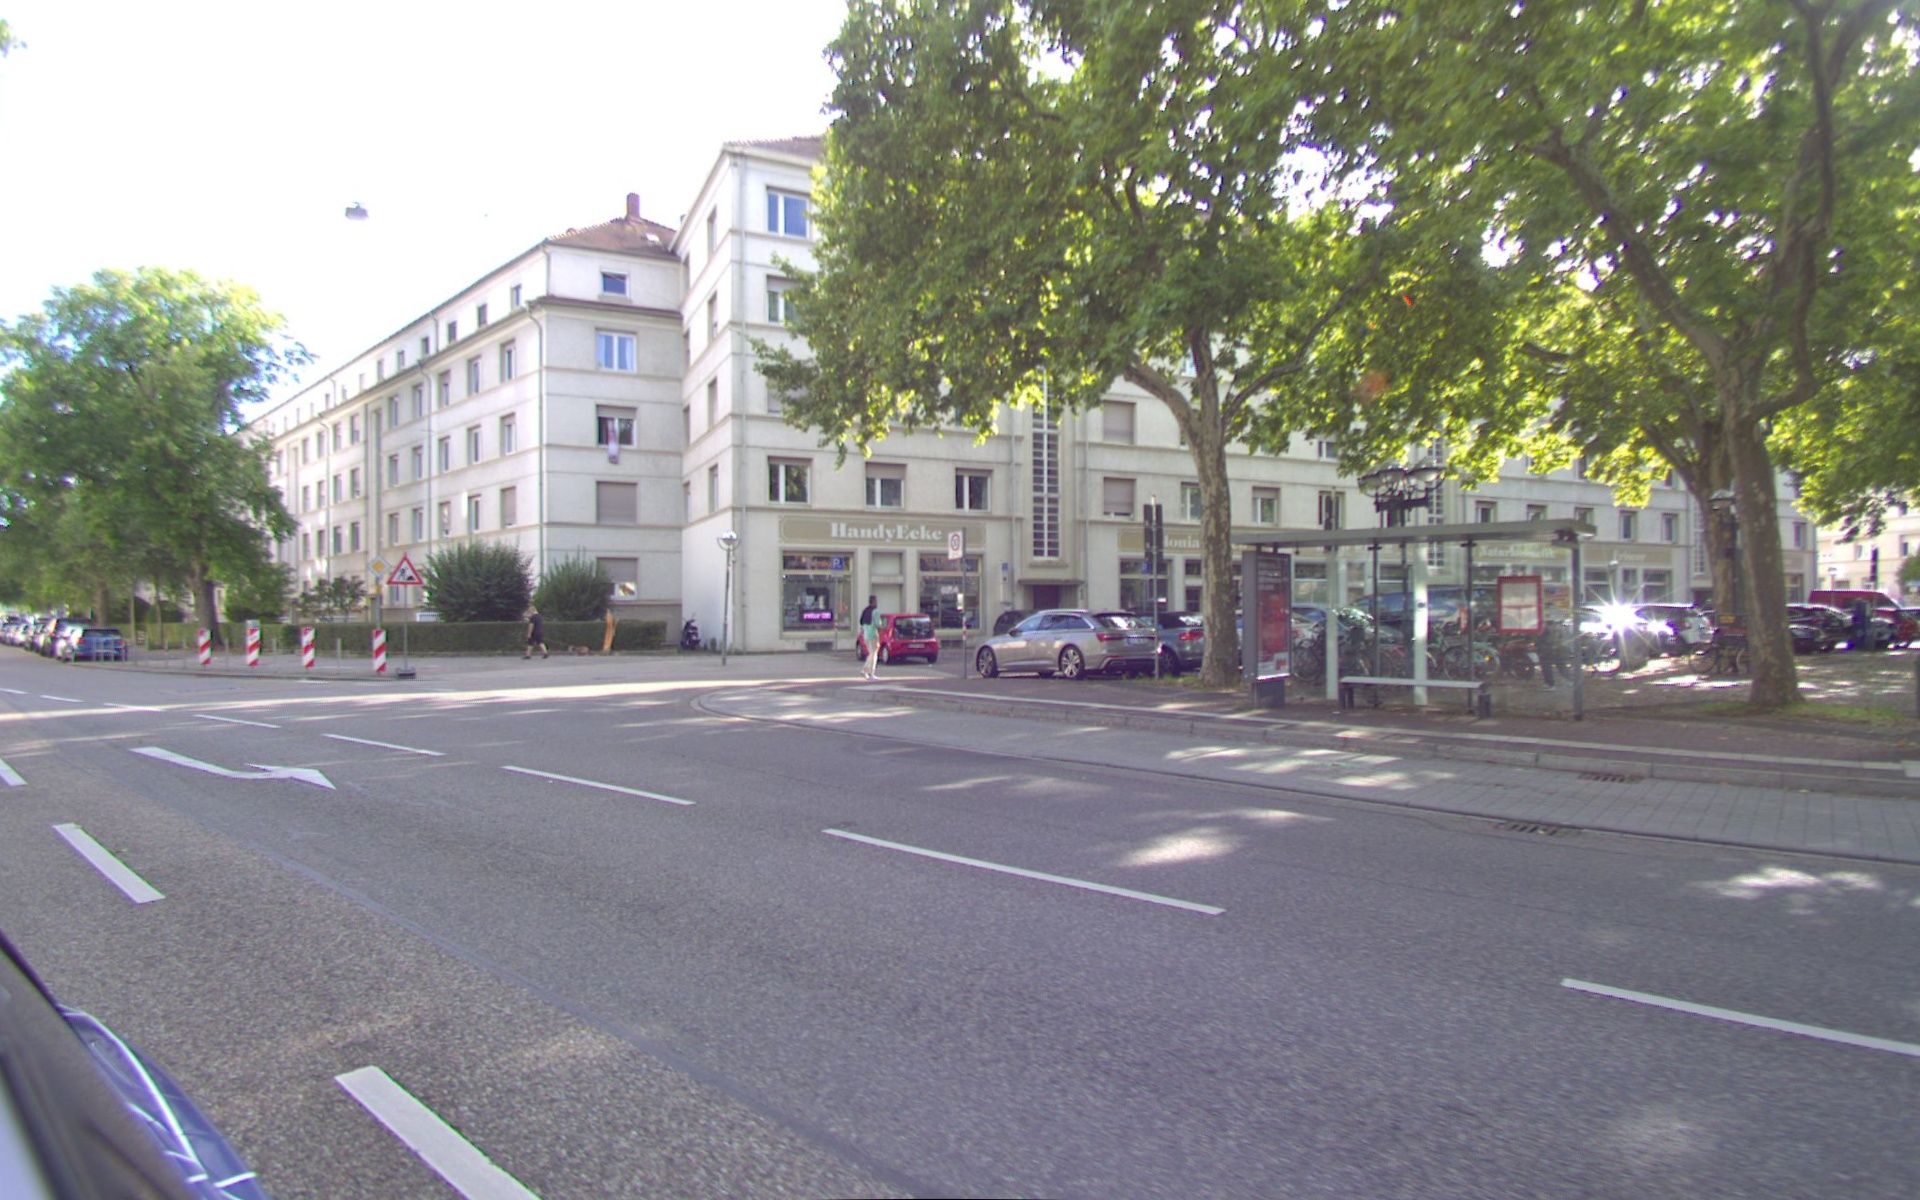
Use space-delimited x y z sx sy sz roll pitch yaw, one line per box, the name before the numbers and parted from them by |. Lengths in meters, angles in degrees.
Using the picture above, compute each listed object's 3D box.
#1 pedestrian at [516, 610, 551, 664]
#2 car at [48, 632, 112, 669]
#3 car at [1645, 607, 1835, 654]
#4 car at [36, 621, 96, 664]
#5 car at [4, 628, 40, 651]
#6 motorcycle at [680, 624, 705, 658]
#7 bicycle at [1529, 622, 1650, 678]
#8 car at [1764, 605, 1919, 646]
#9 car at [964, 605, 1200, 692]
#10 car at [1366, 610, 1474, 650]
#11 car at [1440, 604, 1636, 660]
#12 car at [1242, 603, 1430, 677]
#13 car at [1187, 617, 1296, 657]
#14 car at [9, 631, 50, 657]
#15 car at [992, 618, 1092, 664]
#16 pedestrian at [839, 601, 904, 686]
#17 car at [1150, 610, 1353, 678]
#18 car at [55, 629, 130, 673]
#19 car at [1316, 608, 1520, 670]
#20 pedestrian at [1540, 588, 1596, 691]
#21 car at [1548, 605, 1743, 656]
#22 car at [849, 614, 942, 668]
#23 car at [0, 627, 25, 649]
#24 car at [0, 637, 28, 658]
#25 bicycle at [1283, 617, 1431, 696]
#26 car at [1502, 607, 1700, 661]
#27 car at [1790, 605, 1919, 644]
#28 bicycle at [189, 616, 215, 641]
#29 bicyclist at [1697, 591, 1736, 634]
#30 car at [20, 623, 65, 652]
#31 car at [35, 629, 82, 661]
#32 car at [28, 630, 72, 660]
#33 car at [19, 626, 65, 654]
pedestrian | -12.813 1.115 30.383 0.732 1.590 0.724 -2 -2 40
car | -37.586 2.122 43.207 1.778 1.505 3.805 3 -4 -44
car | 24.724 0.952 32.263 1.828 1.388 4.401 0 -1 -27
car | -41.539 1.947 46.996 4.193 1.897 1.703 -2 -3 44
car | -64.688 2.710 69.771 4.015 1.479 1.596 -2 -2 44
motorcycle | -9.611 1.451 36.327 0.537 1.172 1.882 0 -1 -26
bicycle | 13.204 1.018 21.293 0.690 1.090 2.101 0 -1 -26
car | 32.249 0.899 36.719 1.828 1.388 4.401 0 -1 -27
car | 2.410 0.963 21.439 2.203 1.597 4.987 0 -1 -35
car | 18.115 1.166 40.005 1.623 1.484 3.570 0 -1 -29
car | 15.864 0.865 28.028 1.828 1.388 4.401 0 -1 -27
car | 9.069 0.936 24.786 1.654 1.629 4.290 0 -1 -27
car | 9.817 1.265 35.528 1.623 1.314 3.570 0 -1 -29
car | -61.324 2.891 66.692 3.994 1.632 1.720 -2 -1 43
car | 2.582 1.285 32.750 1.568 1.377 3.718 -1 -1 -26
pedestrian | -1.908 0.926 21.915 0.915 1.767 1.067 -2 0 28
car | 6.588 0.969 23.498 1.643 1.388 4.853 0 -1 -27
car | -34.224 1.988 39.893 3.803 1.632 1.779 -2 -4 43
car | 11.232 0.926 25.160 1.828 1.388 4.401 0 -1 -27
pedestrian | 10.396 0.665 17.318 0.706 1.728 0.495 -2 -2 42
car | 20.107 0.880 29.909 1.828 1.388 4.401 0 -1 -27
car | -2.023 1.207 30.798 1.568 1.489 3.718 -1 -1 -25
car | -79.738 3.192 84.663 4.971 1.807 1.856 -2 -3 44
car | -72.443 3.604 77.373 1.665 1.492 4.456 5 -4 -42
bicycle | 7.081 0.967 18.166 1.370 1.218 2.110 0 1 -26
car | 18.048 0.929 28.741 1.828 1.388 4.401 0 -1 -27
car | 34.067 0.908 37.748 1.828 1.388 4.401 0 -1 -27
bicycle | -64.992 2.444 86.771 2.918 2.029 1.250 -2 -1 44
bicyclist | 30.348 0.489 40.595 1.094 1.704 0.817 0 -1 -25
car | -54.838 2.237 60.467 1.778 1.681 4.485 3 -4 -44
car | -45.069 2.235 50.581 1.674 1.504 4.337 2 -3 -42
car | -48.312 2.394 53.715 1.535 1.532 3.018 3 -4 -44
car | -51.051 2.221 56.279 1.680 1.498 3.850 3 -4 -44
